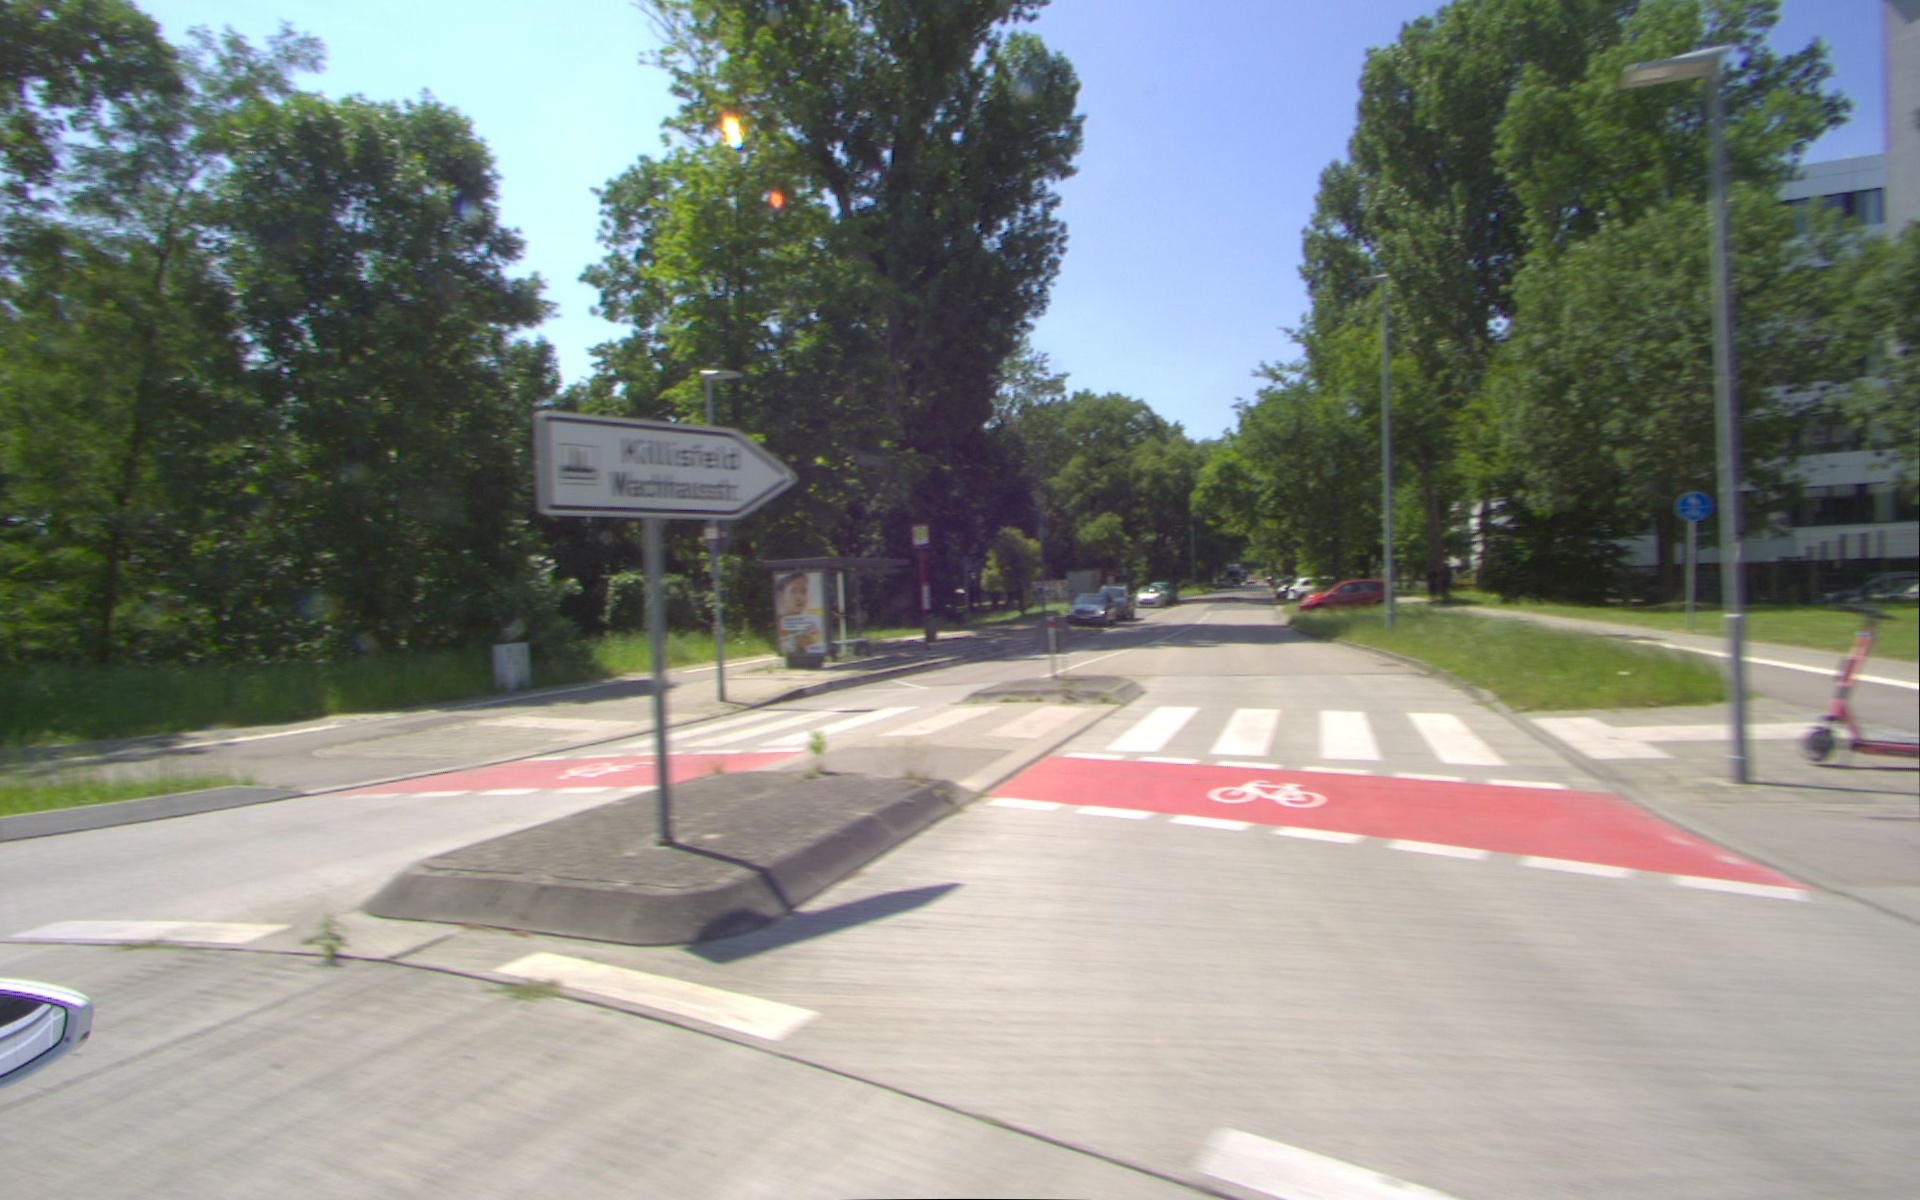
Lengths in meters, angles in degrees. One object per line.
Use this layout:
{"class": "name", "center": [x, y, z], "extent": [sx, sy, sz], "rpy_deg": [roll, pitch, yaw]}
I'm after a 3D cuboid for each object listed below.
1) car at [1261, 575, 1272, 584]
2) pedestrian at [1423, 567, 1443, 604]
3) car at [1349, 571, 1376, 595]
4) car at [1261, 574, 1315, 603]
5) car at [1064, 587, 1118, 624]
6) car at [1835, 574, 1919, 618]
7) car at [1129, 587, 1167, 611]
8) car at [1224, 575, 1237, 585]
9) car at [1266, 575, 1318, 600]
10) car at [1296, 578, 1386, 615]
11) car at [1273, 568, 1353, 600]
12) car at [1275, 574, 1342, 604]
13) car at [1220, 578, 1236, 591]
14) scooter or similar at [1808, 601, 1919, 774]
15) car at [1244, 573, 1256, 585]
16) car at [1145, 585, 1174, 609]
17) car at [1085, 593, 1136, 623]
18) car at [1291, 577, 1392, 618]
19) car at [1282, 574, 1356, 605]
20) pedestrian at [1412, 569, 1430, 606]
{"class": "car", "center": [66.047, -4.397, 215.857], "extent": [1.809, 1.840, 3.733], "rpy_deg": [-2, 0, 21]}
{"class": "pedestrian", "center": [21.455, -0.658, 45.457], "extent": [0.561, 1.629, 0.644], "rpy_deg": [-2, 1, 3]}
{"class": "car", "center": [31.295, -1.329, 77.881], "extent": [1.663, 1.750, 3.992], "rpy_deg": [-2, 0, 18]}
{"class": "car", "center": [25.807, -0.907, 78.825], "extent": [3.928, 2.040, 1.997], "rpy_deg": [-2, 0, 17]}
{"class": "car", "center": [5.701, 0.205, 43.290], "extent": [1.672, 1.506, 3.993], "rpy_deg": [1, 1, 17]}
{"class": "car", "center": [36.552, -0.187, 38.243], "extent": [4.279, 1.589, 1.850], "rpy_deg": [-2, 0, 17]}
{"class": "car", "center": [12.712, -0.054, 67.469], "extent": [1.965, 1.489, 3.992], "rpy_deg": [-2, 0, 19]}
{"class": "car", "center": [48.073, -3.592, 177.693], "extent": [1.885, 1.706, 3.991], "rpy_deg": [-2, 0, 20]}
{"class": "car", "center": [27.693, -0.998, 83.604], "extent": [3.927, 1.897, 1.682], "rpy_deg": [-2, 0, 15]}
{"class": "car", "center": [17.404, -0.152, 45.894], "extent": [3.617, 1.503, 1.867], "rpy_deg": [-2, 0, 13]}
{"class": "car", "center": [25.181, -1.117, 71.574], "extent": [5.220, 2.011, 1.757], "rpy_deg": [-2, 0, 17]}
{"class": "car", "center": [22.562, -0.712, 64.949], "extent": [3.929, 1.728, 1.757], "rpy_deg": [-2, 0, 17]}
{"class": "car", "center": [38.453, -2.230, 143.455], "extent": [1.885, 1.706, 3.992], "rpy_deg": [-2, 0, 19]}
{"class": "scooter or similar", "center": [7.021, 0.617, 7.196], "extent": [1.383, 1.217, 0.444], "rpy_deg": [-2, 1, 40]}
{"class": "car", "center": [53.170, -3.804, 183.830], "extent": [1.965, 2.040, 3.992], "rpy_deg": [-2, 0, 18]}
{"class": "car", "center": [14.273, -0.230, 71.562], "extent": [1.705, 1.564, 3.440], "rpy_deg": [-2, 0, 16]}
{"class": "car", "center": [7.517, 0.372, 49.697], "extent": [1.964, 1.327, 3.993], "rpy_deg": [-2, 0, 16]}
{"class": "car", "center": [15.687, -0.103, 41.351], "extent": [3.617, 1.503, 1.867], "rpy_deg": [-2, 0, 13]}
{"class": "car", "center": [19.894, -0.583, 55.621], "extent": [3.718, 1.537, 1.810], "rpy_deg": [-2, 0, 16]}
{"class": "pedestrian", "center": [20.854, -0.578, 45.299], "extent": [0.577, 1.638, 0.486], "rpy_deg": [-2, 1, 5]}
